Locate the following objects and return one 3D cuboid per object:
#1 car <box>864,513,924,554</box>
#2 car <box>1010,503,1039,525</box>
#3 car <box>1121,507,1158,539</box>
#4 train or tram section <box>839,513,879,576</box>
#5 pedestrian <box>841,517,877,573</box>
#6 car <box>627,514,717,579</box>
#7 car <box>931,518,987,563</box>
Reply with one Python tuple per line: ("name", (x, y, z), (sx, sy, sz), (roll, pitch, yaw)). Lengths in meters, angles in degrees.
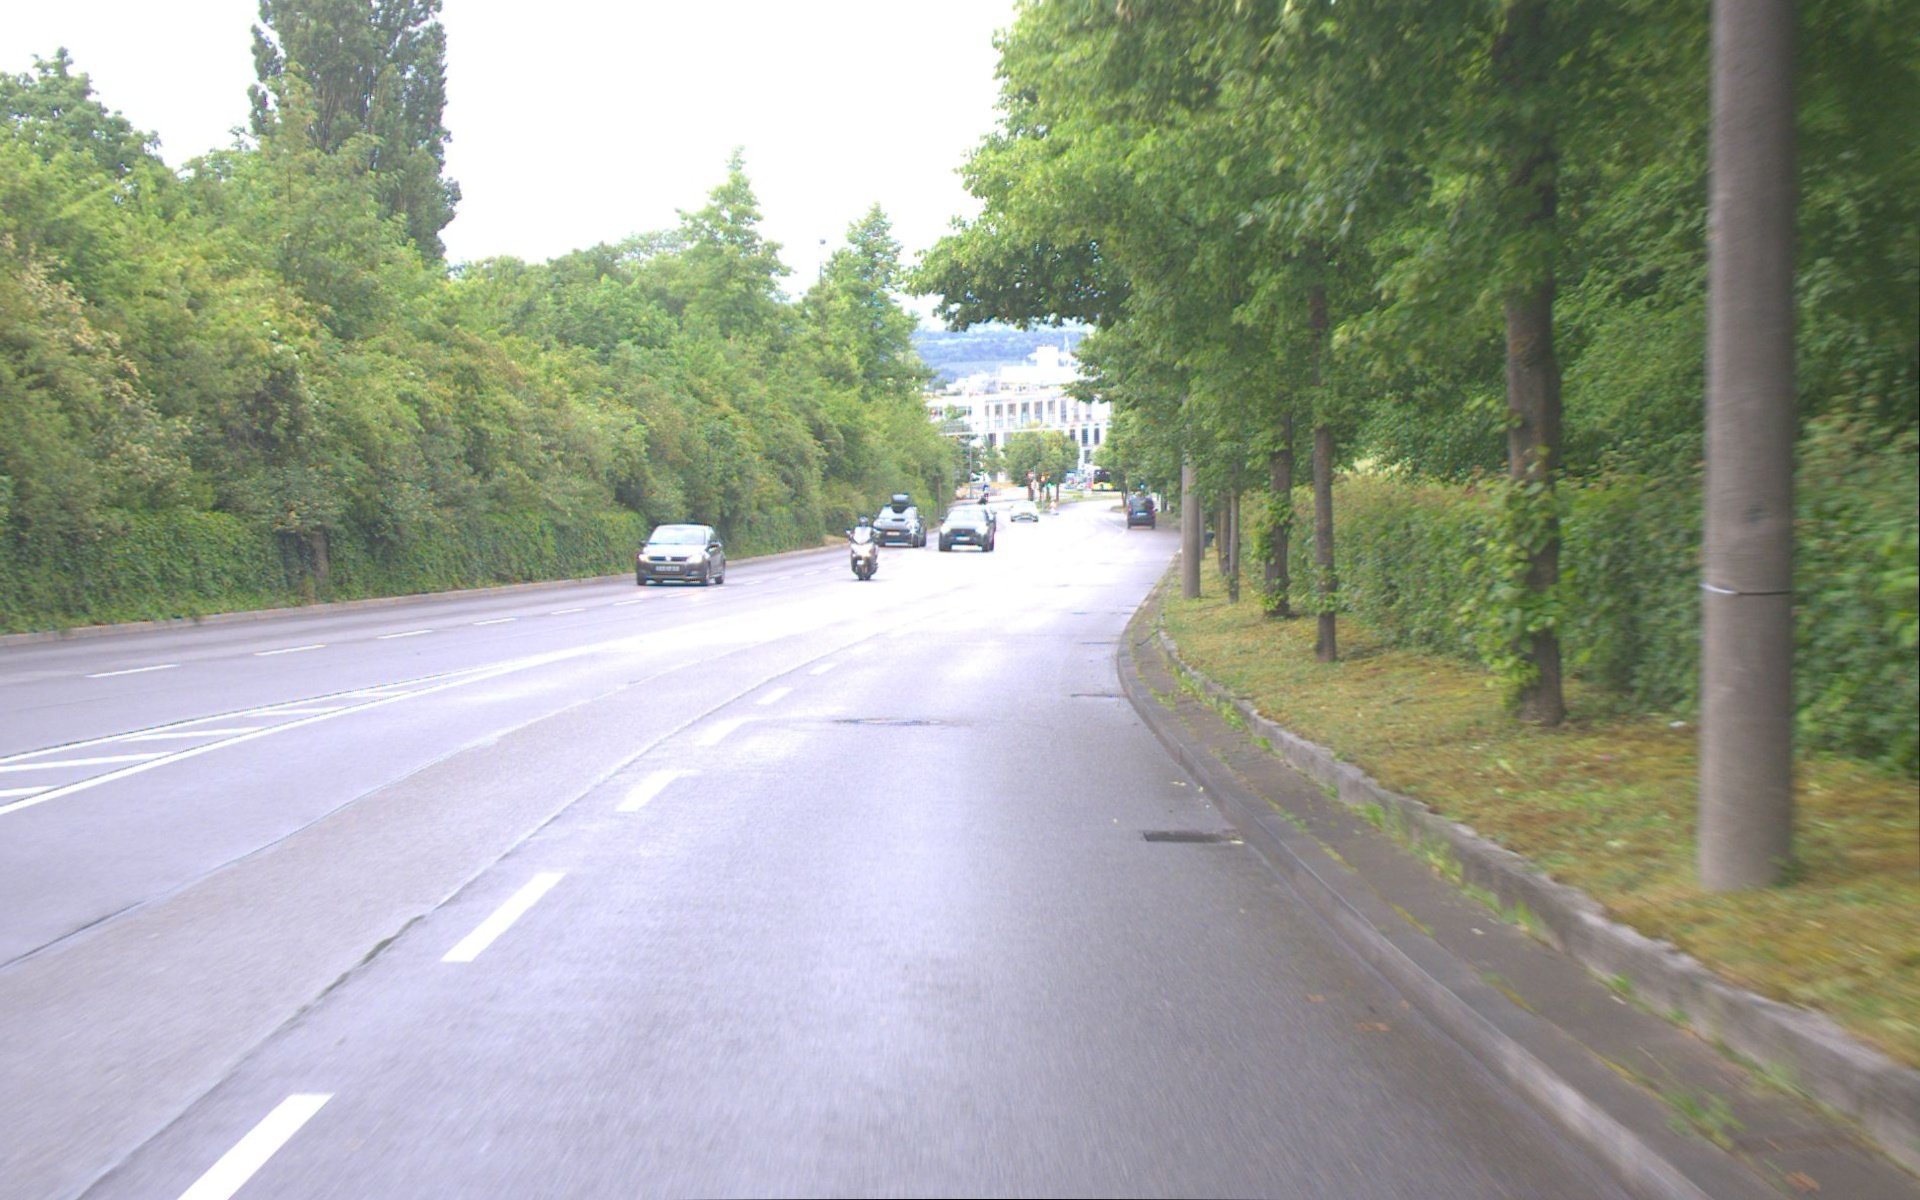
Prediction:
("car", (-2.638, -2.655, 137.734), (1.899, 1.547, 4.630), (3, 1, 4))
("car", (4.481, -5.978, 239.166), (1.715, 1.500, 4.516), (2, 2, 4))
("car", (10.470, -4.460, 200.290), (1.849, 1.696, 3.792), (2, 0, 6))
("train or tram section", (-2.590, -1.415, 88.427), (0.791, 1.564, 2.383), (2, 1, 3))
("pedestrian", (-2.587, -1.416, 88.474), (0.791, 1.379, 0.974), (2, 1, 3))
("car", (-6.684, -1.238, 80.035), (1.549, 1.432, 3.696), (1, 1, 3))
("car", (-0.013, -2.296, 132.525), (1.812, 1.652, 4.595), (2, 1, 4))
